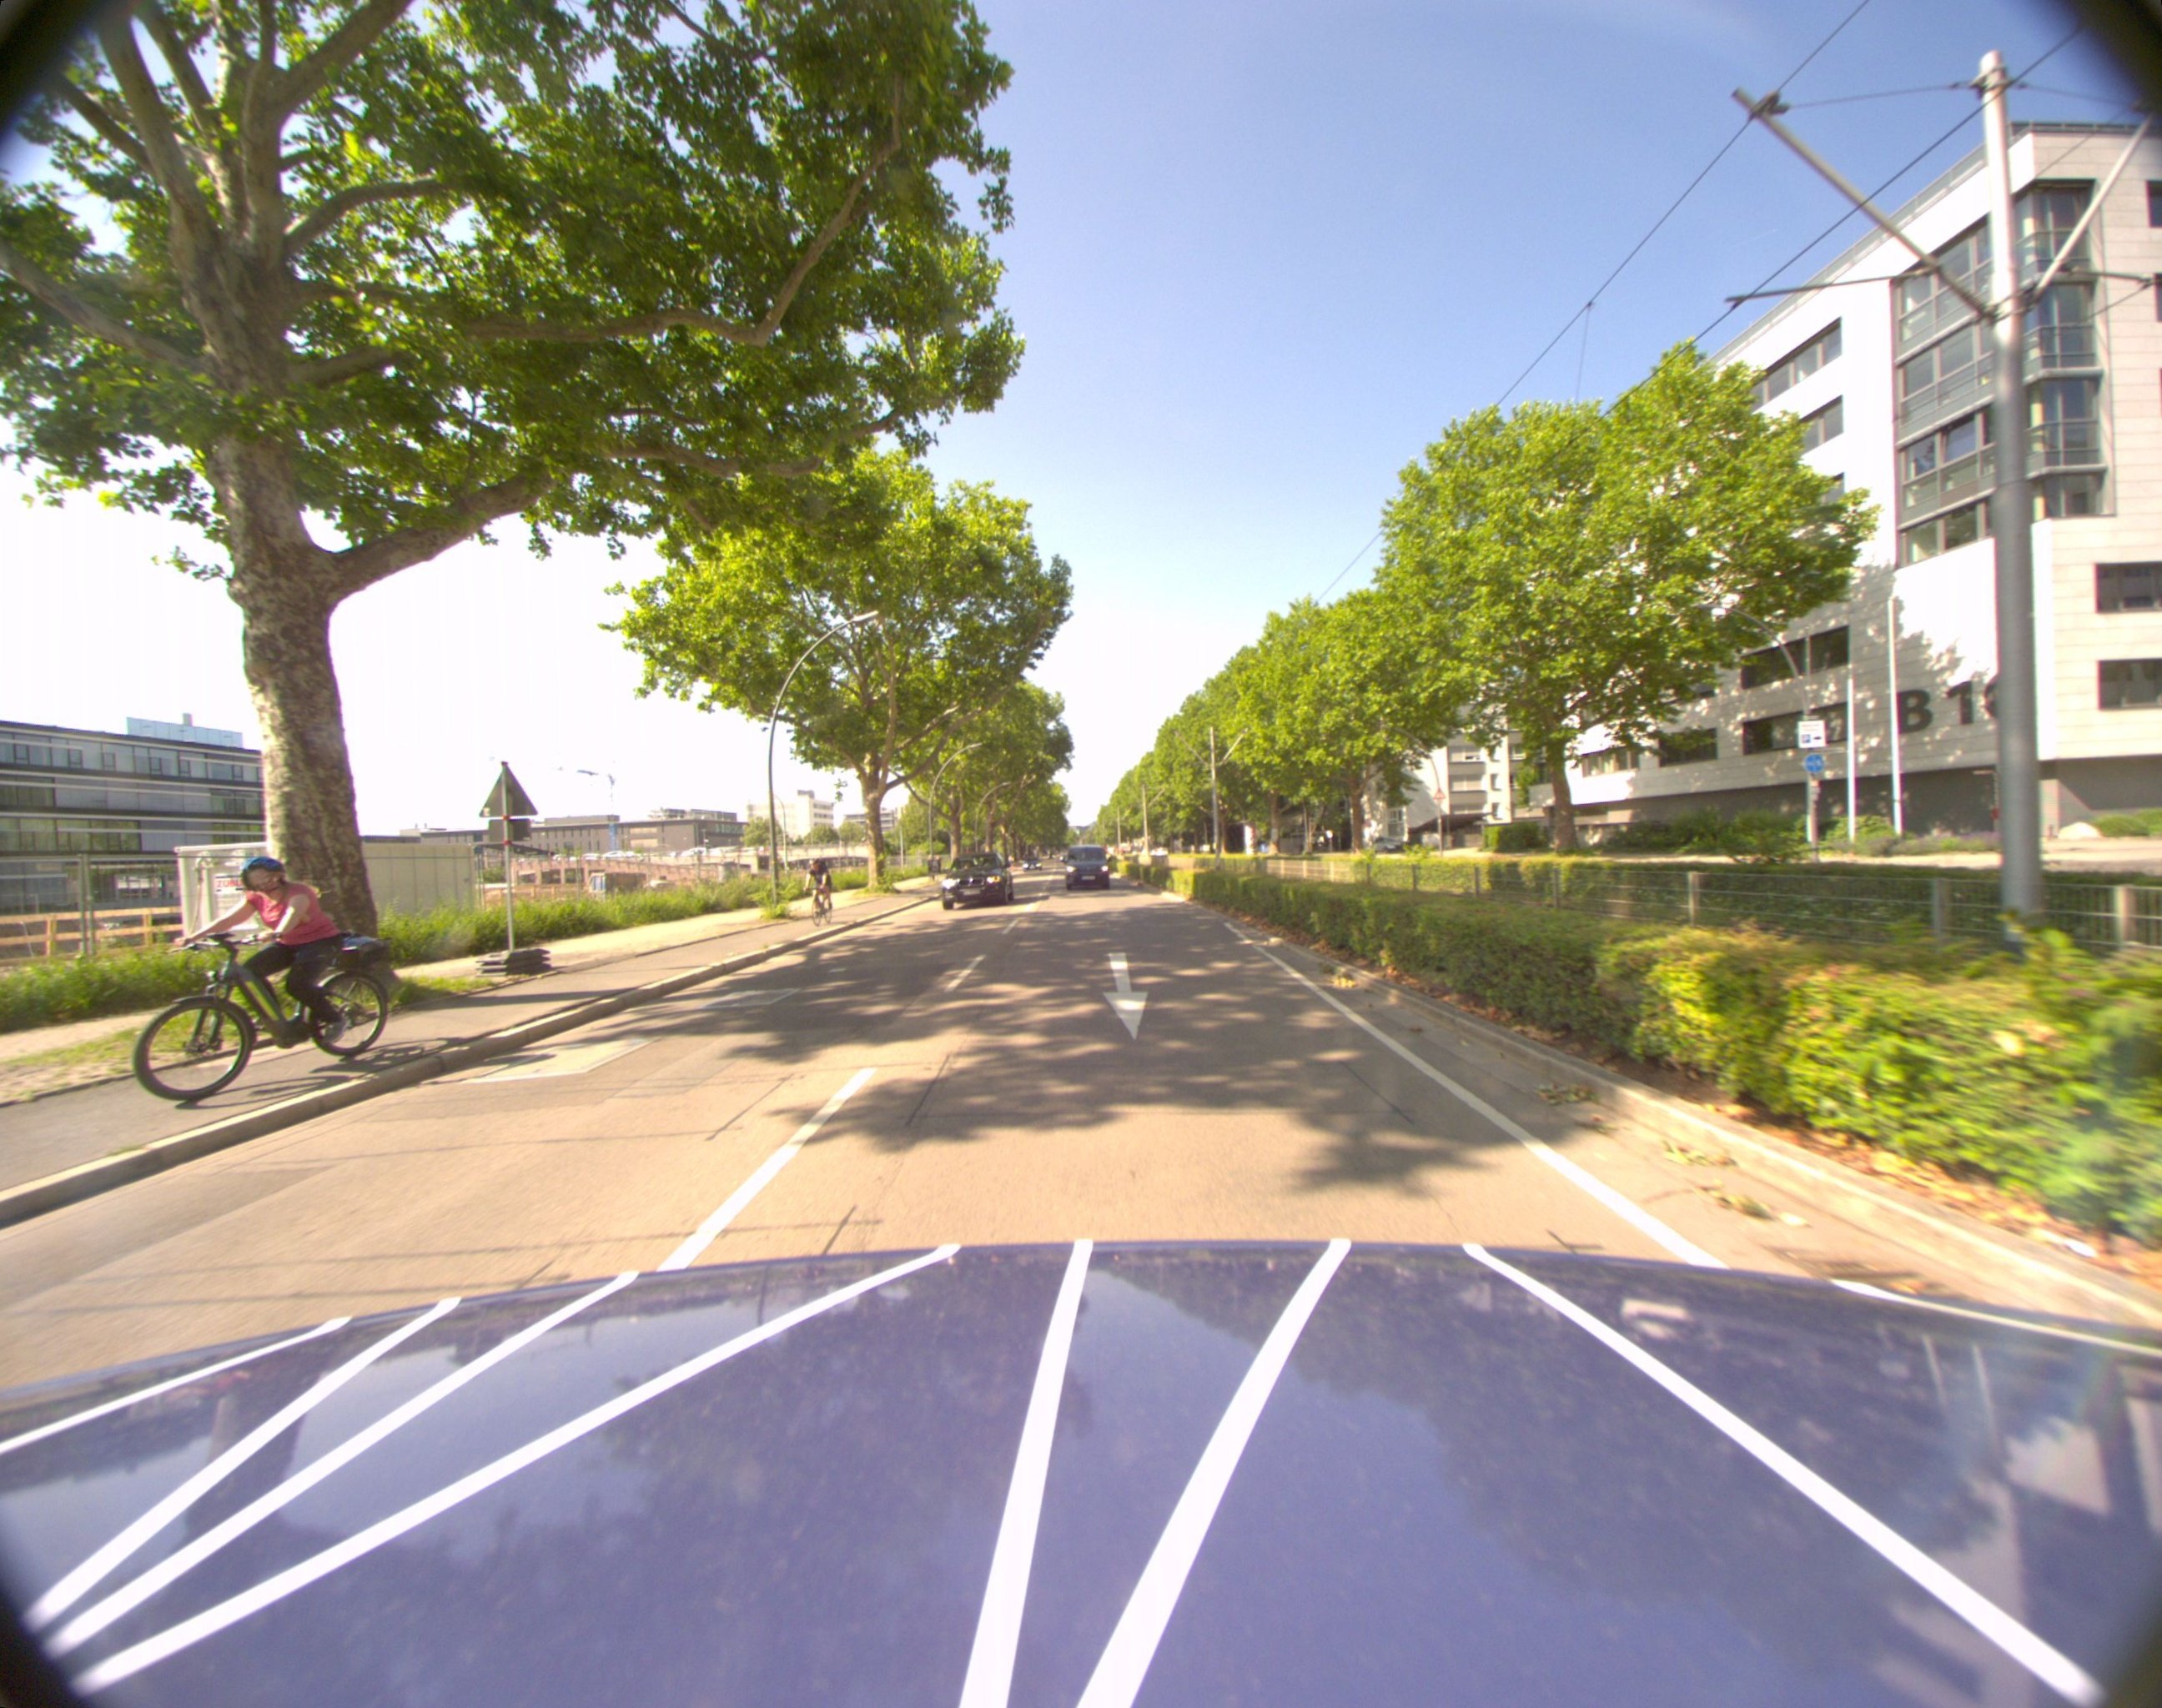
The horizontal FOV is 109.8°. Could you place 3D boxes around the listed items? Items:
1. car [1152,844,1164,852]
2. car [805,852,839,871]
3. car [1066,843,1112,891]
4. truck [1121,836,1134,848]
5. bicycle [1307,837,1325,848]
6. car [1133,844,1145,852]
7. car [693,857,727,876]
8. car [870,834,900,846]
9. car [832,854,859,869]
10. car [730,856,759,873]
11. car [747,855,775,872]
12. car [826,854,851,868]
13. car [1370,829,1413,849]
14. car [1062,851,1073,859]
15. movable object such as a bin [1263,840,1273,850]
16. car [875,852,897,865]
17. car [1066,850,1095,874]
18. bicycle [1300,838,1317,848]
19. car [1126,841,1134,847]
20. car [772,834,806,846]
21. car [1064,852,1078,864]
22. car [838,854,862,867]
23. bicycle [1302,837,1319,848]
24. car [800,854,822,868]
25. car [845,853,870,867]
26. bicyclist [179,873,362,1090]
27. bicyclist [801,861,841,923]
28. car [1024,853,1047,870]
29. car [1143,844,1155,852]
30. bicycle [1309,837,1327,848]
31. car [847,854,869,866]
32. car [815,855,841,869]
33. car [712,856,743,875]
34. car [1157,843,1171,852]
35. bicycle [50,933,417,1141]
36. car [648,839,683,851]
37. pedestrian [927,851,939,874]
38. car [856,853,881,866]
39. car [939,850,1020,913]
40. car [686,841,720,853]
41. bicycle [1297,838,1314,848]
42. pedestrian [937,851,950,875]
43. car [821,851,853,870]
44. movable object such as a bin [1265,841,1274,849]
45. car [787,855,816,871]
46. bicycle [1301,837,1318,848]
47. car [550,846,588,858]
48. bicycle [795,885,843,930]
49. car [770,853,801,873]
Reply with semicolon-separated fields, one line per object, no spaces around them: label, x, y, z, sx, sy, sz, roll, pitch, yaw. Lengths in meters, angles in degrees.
car;15.282;-1.248;150.554;1.857;1.445;3.999;-3;0;-1
car;-39.396;1.138;115.718;4.375;2.723;1.808;-3;1;-3
car;0.357;0.492;32.165;1.789;1.840;4.000;-2;1;1
truck;13.273;-3.409;217.347;2.752;3.259;6.539;-3;0;-1
bicycle;26.214;-1.274;84.684;1.770;1.096;0.421;-3;1;-2
car;11.791;-1.257;154.235;1.860;1.445;3.999;-3;1;-1
car;-56.147;1.857;115.036;3.998;2.723;1.808;-3;1;-3
car;-28.881;-2.094;111.965;3.998;1.501;1.808;-3;1;-3
car;-39.772;1.208;128.504;3.998;2.309;1.808;-3;1;-3
car;-57.047;1.749;128.931;3.998;2.723;1.808;-3;1;-3
car;-57.219;1.683;135.857;3.998;2.723;1.808;-3;1;-3
car;-45.653;1.311;143.013;3.998;2.309;1.808;-3;1;-3
car;26.507;-1.230;64.932;1.747;1.541;4.348;-3;0;-1
car;-2.546;0.147;145.880;1.854;1.419;4.151;-3;1;1
movable object such as a bin;24.253;-1.166;98.687;0.898;1.182;1.098;-3;1;-2
car;-40.385;0.930;157.151;3.998;2.309;1.808;-3;1;-3
car;-0.007;0.517;54.983;1.924;1.543;4.151;-3;1;0
bicycle;26.051;-1.292;87.026;1.770;1.096;0.421;-3;1;-2
car;12.407;-2.527;192.863;1.701;1.406;3.891;-5;0;-1
car;-41.885;-2.036;109.069;3.998;1.501;1.808;-3;1;-3
car;-1.375;0.518;106.190;1.854;1.419;4.151;-3;1;1
car;-45.503;1.231;149.880;3.998;2.309;1.808;-3;1;-3
bicycle;26.033;-1.282;86.125;1.770;1.096;0.421;-3;1;-2
car;-58.091;1.428;163.380;3.998;2.723;1.808;-3;1;-3
car;-40.165;1.139;136.537;3.998;2.309;1.808;-3;1;-3
bicyclist;-6.385;0.959;6.029;0.621;1.591;0.732;-1;1;-2
bicyclist;-6.470;0.916;18.942;0.600;1.481;1.214;0;1;-1
car;-4.412;0.692;73.803;1.854;1.419;4.151;-3;1;1
car;14.606;-1.295;163.316;1.860;1.445;3.999;-3;1;-1
bicycle;26.235;-1.270;84.187;1.770;1.096;0.421;-3;1;-2
car;-46.014;1.179;156.874;3.998;2.309;1.808;-3;1;-3
car;-45.333;1.367;136.361;3.998;2.309;1.808;-3;1;-3
car;-56.827;1.813;122.049;3.998;2.723;1.808;-3;1;-3
car;14.605;-1.123;133.550;1.820;1.482;3.912;-1;0;-1
bicycle;-6.390;1.299;5.944;0.653;1.123;1.945;-1;1;0
car;-59.339;-1.267;108.530;3.998;1.501;1.808;-3;1;-3
pedestrian;-11.162;0.662;57.276;0.697;1.673;0.959;-3;1;-1
car;-40.078;1.062;143.430;3.998;2.309;1.808;-3;1;-3
car;-3.178;0.799;24.547;1.924;1.720;4.151;-4;1;0
car;-55.365;-1.060;111.284;3.998;1.501;1.808;-3;1;-3
bicycle;26.028;-1.303;88.112;1.770;1.096;0.421;-3;1;-2
pedestrian;-10.341;0.677;57.073;0.712;1.714;1.066;-3;1;-1
car;-39.417;1.064;122.750;4.375;2.723;1.808;-3;1;-3
movable object such as a bin;24.286;-1.133;97.825;0.898;1.031;0.546;-3;1;-2
car;-45.049;1.501;122.593;3.998;2.309;1.808;-3;1;-3
bicycle;26.029;-1.286;86.564;1.770;1.096;0.421;-3;1;-2
car;-72.881;-0.249;108.243;3.998;1.501;1.808;-3;1;-3
bicycle;-6.466;1.295;18.839;0.599;0.974;1.781;0;0;-1
car;-44.959;1.364;115.647;3.998;2.723;1.808;-3;1;-3
